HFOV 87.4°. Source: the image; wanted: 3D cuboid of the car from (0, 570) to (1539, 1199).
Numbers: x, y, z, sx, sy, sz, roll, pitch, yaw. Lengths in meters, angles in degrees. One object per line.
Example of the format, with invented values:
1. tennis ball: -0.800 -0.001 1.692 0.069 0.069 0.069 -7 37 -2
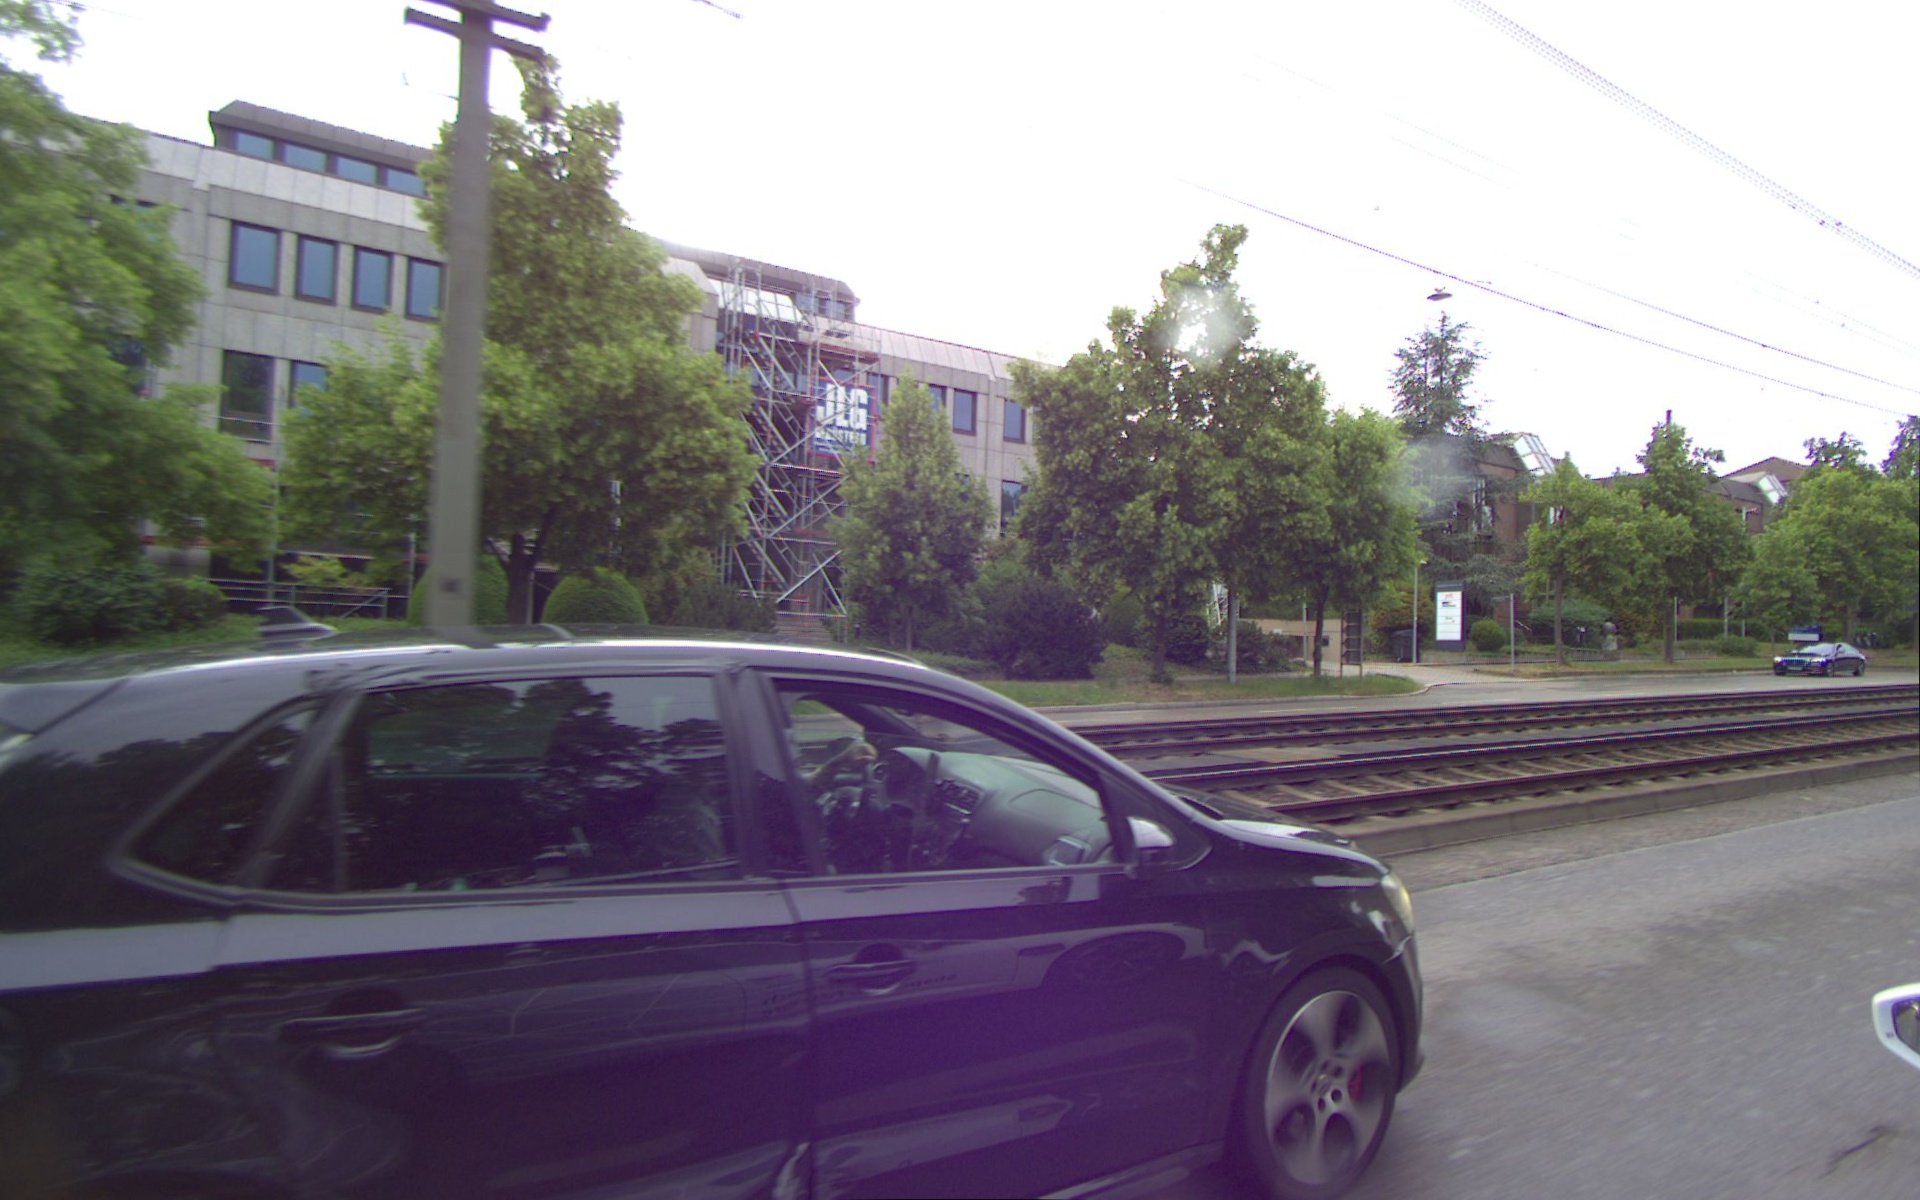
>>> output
1. car: -0.389 0.767 2.763 3.920 1.505 1.785 1 -2 -32

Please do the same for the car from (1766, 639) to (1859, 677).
1. car: 37.186 2.485 43.781 4.570 1.550 1.785 1 -2 -32
